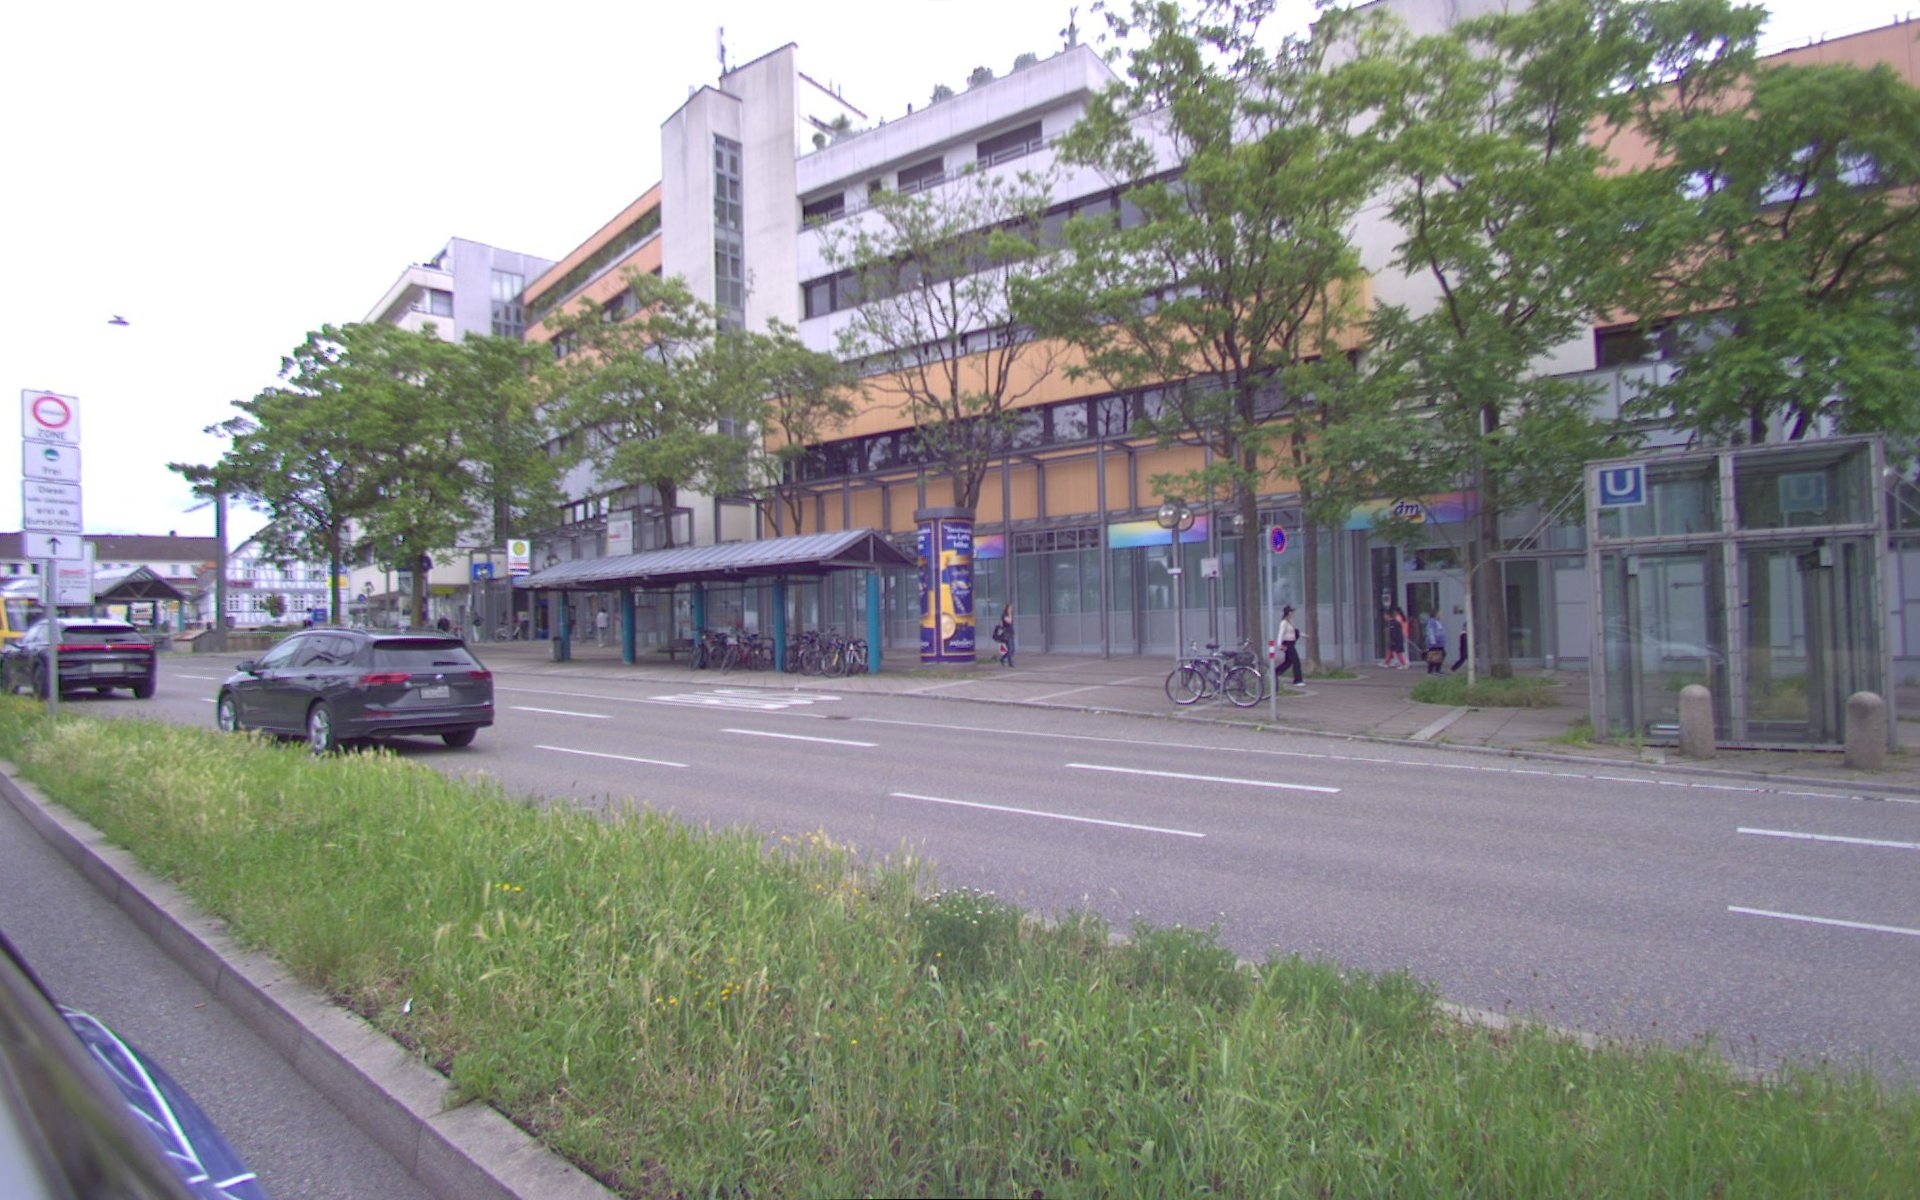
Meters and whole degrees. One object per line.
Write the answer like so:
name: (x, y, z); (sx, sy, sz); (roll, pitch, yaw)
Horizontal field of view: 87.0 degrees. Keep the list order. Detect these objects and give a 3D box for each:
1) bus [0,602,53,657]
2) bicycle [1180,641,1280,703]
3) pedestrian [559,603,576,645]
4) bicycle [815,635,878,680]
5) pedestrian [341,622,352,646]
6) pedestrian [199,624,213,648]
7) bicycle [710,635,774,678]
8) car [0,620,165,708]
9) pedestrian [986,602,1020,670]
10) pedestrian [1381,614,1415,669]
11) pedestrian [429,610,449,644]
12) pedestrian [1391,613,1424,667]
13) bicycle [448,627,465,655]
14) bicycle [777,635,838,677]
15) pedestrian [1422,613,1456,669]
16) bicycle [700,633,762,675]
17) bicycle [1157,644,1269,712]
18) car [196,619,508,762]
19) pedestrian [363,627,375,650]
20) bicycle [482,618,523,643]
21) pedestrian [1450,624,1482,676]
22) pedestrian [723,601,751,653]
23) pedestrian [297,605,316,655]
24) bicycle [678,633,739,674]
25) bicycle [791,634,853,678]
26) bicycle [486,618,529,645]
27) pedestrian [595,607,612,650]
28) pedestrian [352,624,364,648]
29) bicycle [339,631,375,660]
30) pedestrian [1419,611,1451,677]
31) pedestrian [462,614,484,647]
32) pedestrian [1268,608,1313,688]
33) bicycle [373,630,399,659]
bus: (-55.977, 1.685, 58.618); (8.470, 3.006, 2.530); (-1, -2, 29)
bicycle: (4.987, 1.311, 18.790); (1.737, 1.074, 0.542); (-2, -1, 45)
pedestrian: (-19.185, 1.158, 49.492); (0.558, 2.029, 0.611); (1, -2, -44)
bicycle: (-2.901, 1.473, 26.061); (0.549, 1.048, 1.714); (-2, 0, 38)
pedestrian: (-31.041, 1.729, 51.238); (0.368, 1.188, 0.338); (-1, -2, 31)
pedestrian: (-50.151, 2.394, 67.314); (0.581, 1.554, 0.570); (-1, -2, 32)
bicycle: (-5.957, 1.528, 27.722); (0.549, 1.048, 1.714); (-2, 1, 38)
car: (-17.607, 1.195, 20.148); (4.066, 1.533, 1.817); (0, -2, 38)
pedestrian: (1.149, 0.952, 27.203); (0.769, 1.800, 0.525); (-1, -2, 33)
pedestrian: (11.166, 1.048, 25.812); (0.694, 1.385, 0.578); (-1, -2, 34)
pedestrian: (-28.674, 1.500, 55.675); (0.752, 1.859, 0.755); (-1, -2, 41)
pedestrian: (11.638, 1.041, 26.334); (0.694, 1.385, 0.578); (-1, -2, 34)
bicycle: (-21.347, 1.707, 42.930); (0.584, 1.134, 2.044); (1, -1, -26)
bicycle: (-4.134, 1.514, 27.561); (0.549, 1.048, 1.714); (-2, -1, 38)
pedestrian: (12.209, 1.034, 25.777); (0.694, 1.385, 0.578); (-1, -2, 34)
bicycle: (-6.451, 1.511, 28.584); (0.549, 1.048, 1.714); (-2, 1, 38)
bicycle: (4.371, 1.323, 17.598); (0.802, 1.068, 1.739); (0, -1, -40)
car: (-7.600, 1.039, 12.521); (4.277, 1.492, 1.695); (-2, -3, 35)
pedestrian: (-38.024, 2.476, 65.122); (0.548, 1.506, 0.454); (1, -2, -41)
bicycle: (-26.092, 1.735, 57.768); (2.106, 1.377, 0.621); (-1, 0, -24)
pedestrian: (11.824, 1.155, 23.633); (0.620, 1.190, 0.418); (-1, -2, 31)
pedestrian: (-8.723, 1.048, 39.607); (0.791, 2.029, 0.703); (-1, 0, 30)
pedestrian: (-30.467, 1.387, 47.192); (0.608, 2.325, 0.583); (-1, -2, 39)
bicycle: (-7.230, 1.534, 29.149); (0.549, 1.048, 1.714); (-2, 0, 38)
bicycle: (-3.610, 1.457, 26.594); (0.549, 1.048, 1.714); (-2, 0, 38)
bicycle: (-24.943, 1.725, 55.789); (2.107, 1.385, 0.621); (-1, 0, -31)
pedestrian: (-15.469, 1.241, 43.907); (0.639, 1.823, 0.761); (0, -2, -16)
pedestrian: (-38.569, 2.320, 64.837); (0.548, 1.506, 0.454); (1, -2, -41)
bicycle: (-23.610, 1.766, 39.653); (0.585, 1.085, 2.042); (0, -1, -12)
pedestrian: (10.993, 1.007, 23.419); (0.620, 1.515, 0.563); (-1, -2, 31)
pedestrian: (-25.175, 1.560, 52.324); (0.752, 1.695, 0.755); (-1, -2, 41)
pedestrian: (7.063, 1.015, 21.647); (0.721, 1.662, 0.669); (-1, -1, 37)
bicycle: (-22.743, 1.753, 40.111); (0.584, 1.085, 2.044); (0, -1, -21)
